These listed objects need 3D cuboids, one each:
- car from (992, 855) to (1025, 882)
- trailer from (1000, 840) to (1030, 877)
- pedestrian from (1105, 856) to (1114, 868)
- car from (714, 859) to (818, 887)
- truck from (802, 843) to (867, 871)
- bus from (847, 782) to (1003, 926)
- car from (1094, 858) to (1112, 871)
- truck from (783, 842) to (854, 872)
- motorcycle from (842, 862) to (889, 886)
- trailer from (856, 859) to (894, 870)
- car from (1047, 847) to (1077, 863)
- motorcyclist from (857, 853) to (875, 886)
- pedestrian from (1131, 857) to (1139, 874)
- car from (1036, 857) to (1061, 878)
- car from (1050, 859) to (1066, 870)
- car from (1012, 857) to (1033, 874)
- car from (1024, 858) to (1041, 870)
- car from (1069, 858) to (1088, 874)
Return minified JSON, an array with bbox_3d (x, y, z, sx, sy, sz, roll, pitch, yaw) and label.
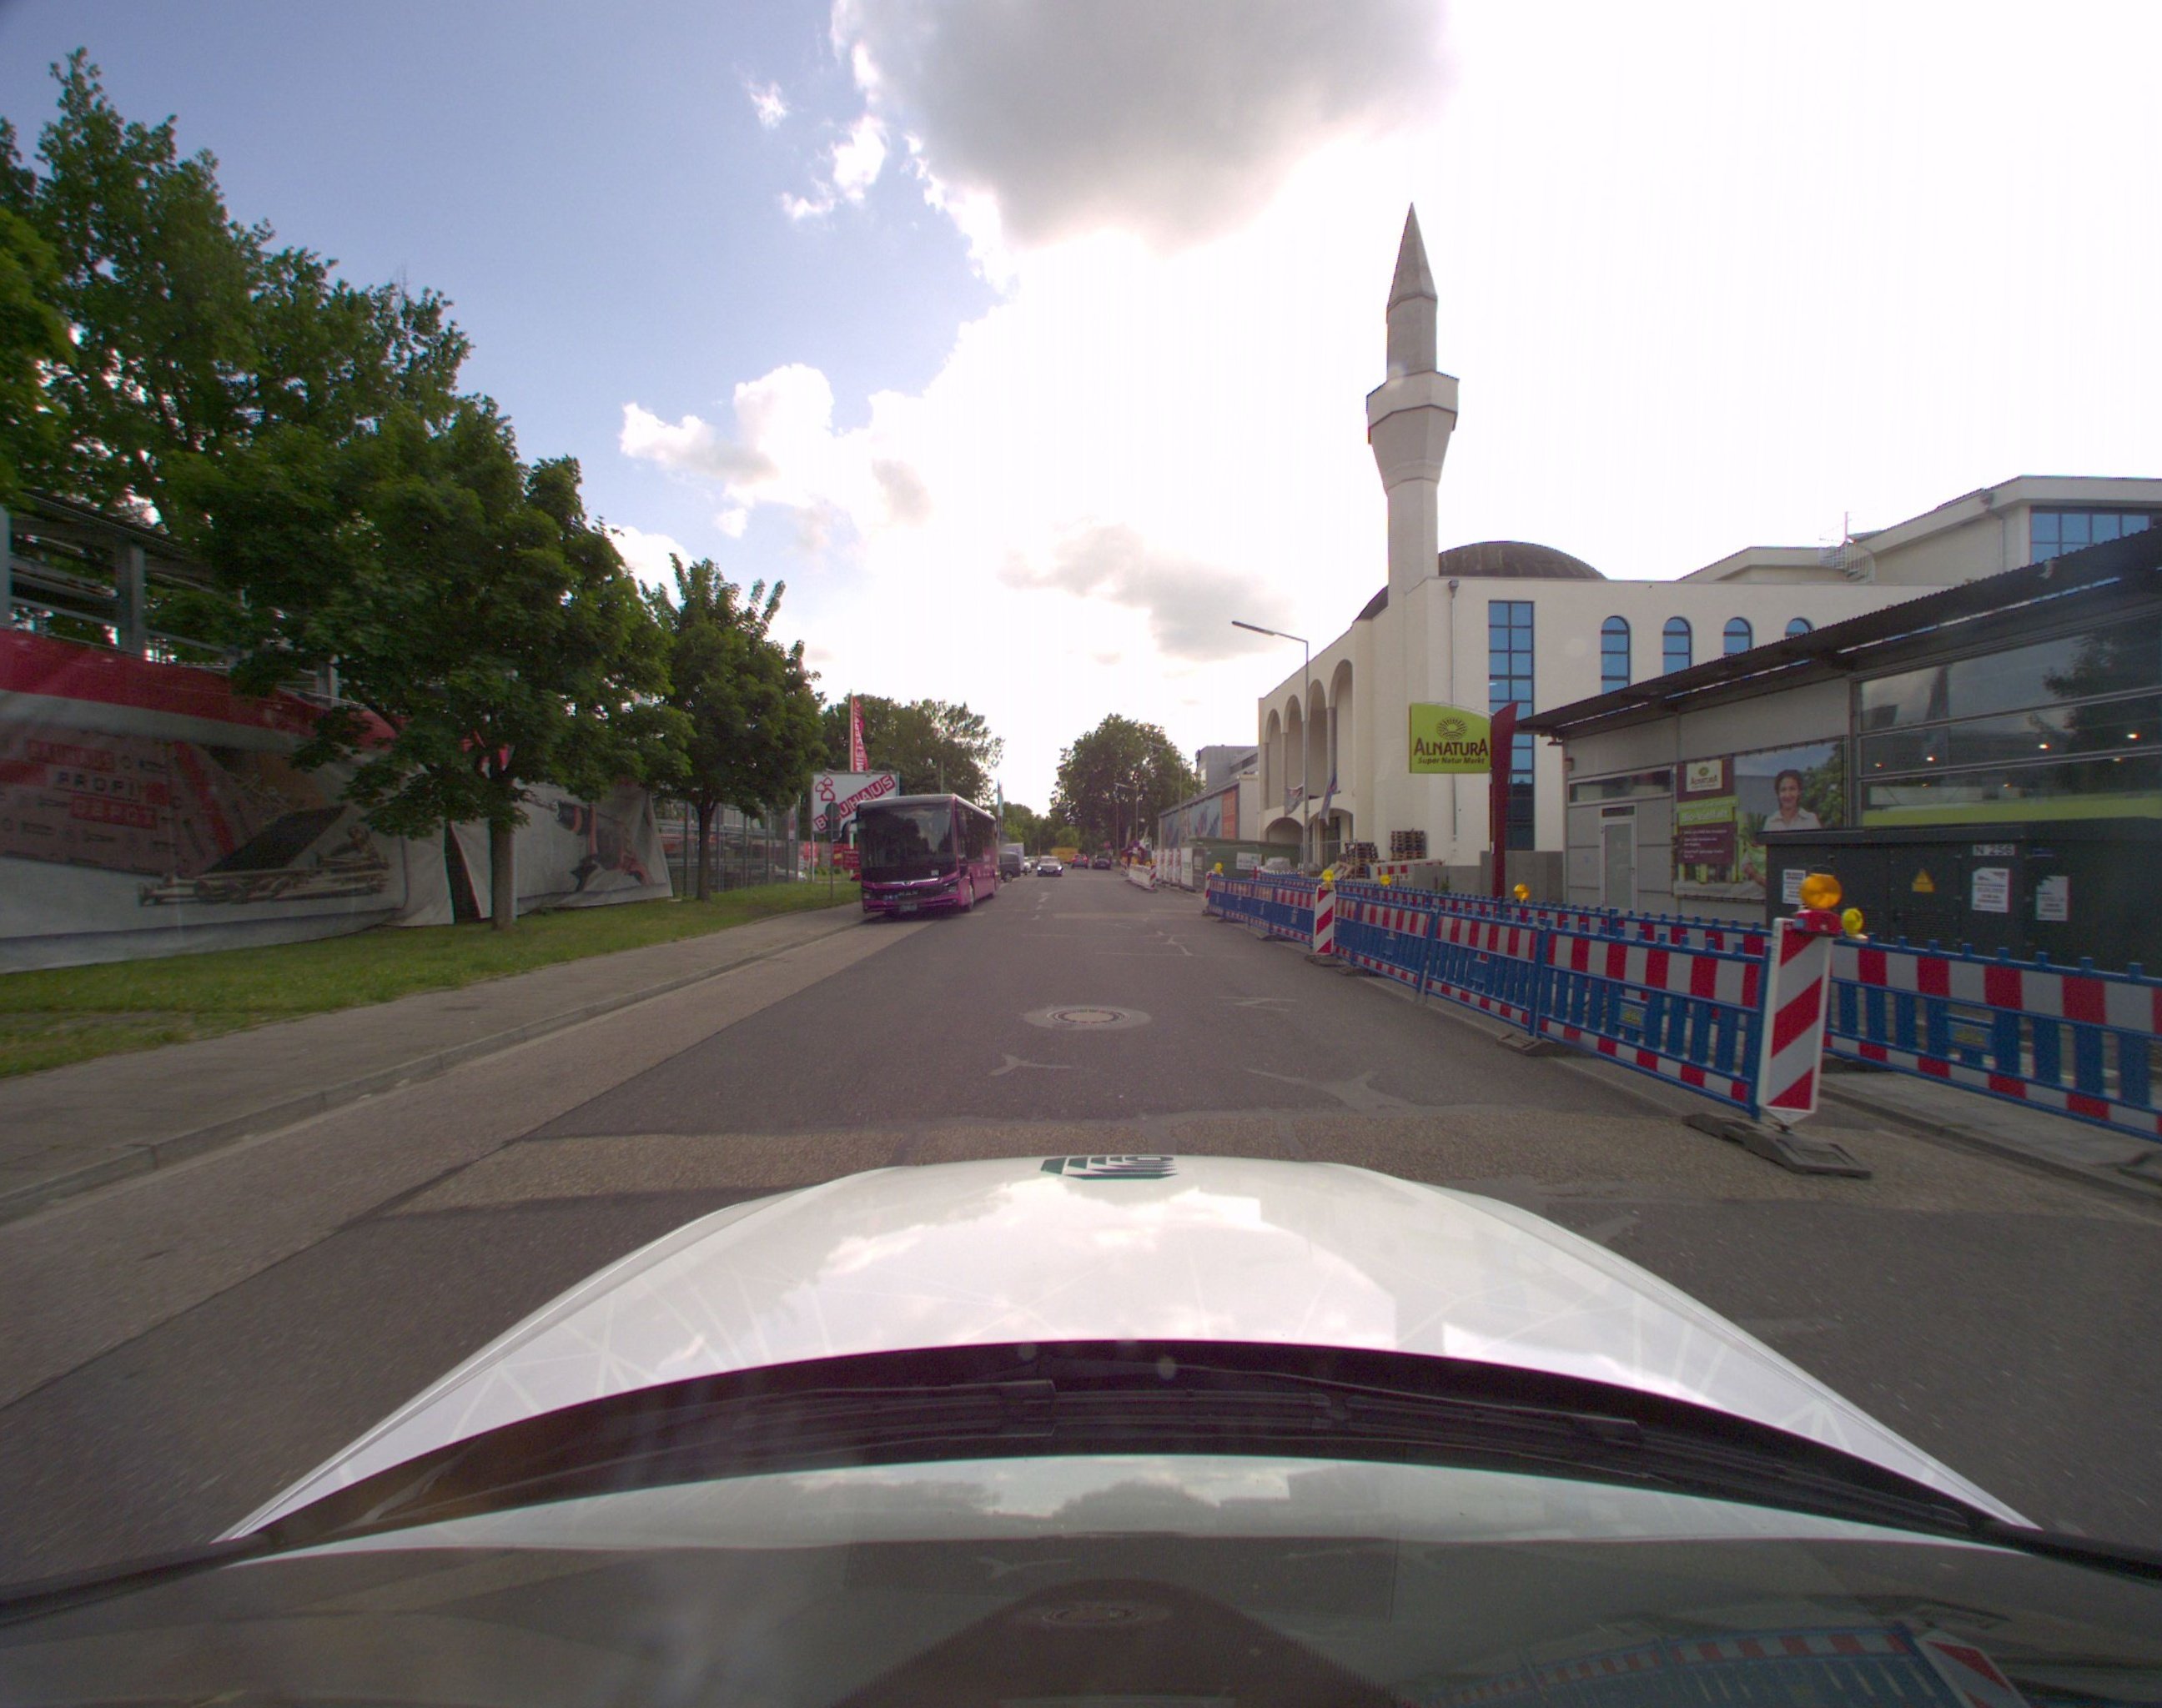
[{"bbox_3d":[-4.549,0.893,51.430,1.863,1.630,4.124,0,0,-2],"label":"car"},{"bbox_3d":[-5.341,0.370,66.549,2.134,2.783,4.700,-2,0,-2],"label":"trailer"},{"bbox_3d":[4.376,1.218,123.253,1.003,1.849,1.221,1,-1,-19],"label":"pedestrian"},{"bbox_3d":[-16.569,0.976,42.983,4.669,1.454,1.954,0,0,-1],"label":"car"},{"bbox_3d":[-23.341,0.325,77.153,5.531,2.594,1.778,0,-2,-1],"label":"truck"},{"bbox_3d":[-4.491,0.014,26.841,2.655,3.422,13.211,-4,0,-1],"label":"bus"},{"bbox_3d":[2.459,1.144,92.354,1.802,1.391,4.587,3,0,0],"label":"car"},{"bbox_3d":[-23.786,0.290,73.949,5.735,2.594,1.815,0,-2,0],"label":"truck"},{"bbox_3d":[-11.399,1.070,43.148,2.214,1.214,0.994,-1,0,-1],"label":"motorcycle"},{"bbox_3d":[-23.730,1.205,93.828,3.799,1.191,1.717,0,0,4],"label":"trailer"},{"bbox_3d":[-3.278,0.184,137.600,2.214,2.578,6.339,0,-1,-33],"label":"car"},{"bbox_3d":[-11.400,0.802,43.151,0.672,1.723,0.994,-1,0,-1],"label":"motorcyclist"},{"bbox_3d":[4.754,1.025,71.793,0.679,1.534,1.130,0,-1,-1],"label":"pedestrian"},{"bbox_3d":[-2.398,1.017,61.510,1.791,1.459,4.382,-1,0,-1],"label":"car"},{"bbox_3d":[-2.847,1.315,102.271,1.917,1.377,4.378,0,0,-1],"label":"car"},{"bbox_3d":[-5.546,1.110,77.160,1.761,1.479,4.231,-3,0,-2],"label":"car"},{"bbox_3d":[-5.998,1.218,101.456,1.704,1.420,4.331,-3,0,0],"label":"car"},{"bbox_3d":[-0.335,1.353,94.286,1.957,1.815,4.271,0,0,-3],"label":"car"}]
